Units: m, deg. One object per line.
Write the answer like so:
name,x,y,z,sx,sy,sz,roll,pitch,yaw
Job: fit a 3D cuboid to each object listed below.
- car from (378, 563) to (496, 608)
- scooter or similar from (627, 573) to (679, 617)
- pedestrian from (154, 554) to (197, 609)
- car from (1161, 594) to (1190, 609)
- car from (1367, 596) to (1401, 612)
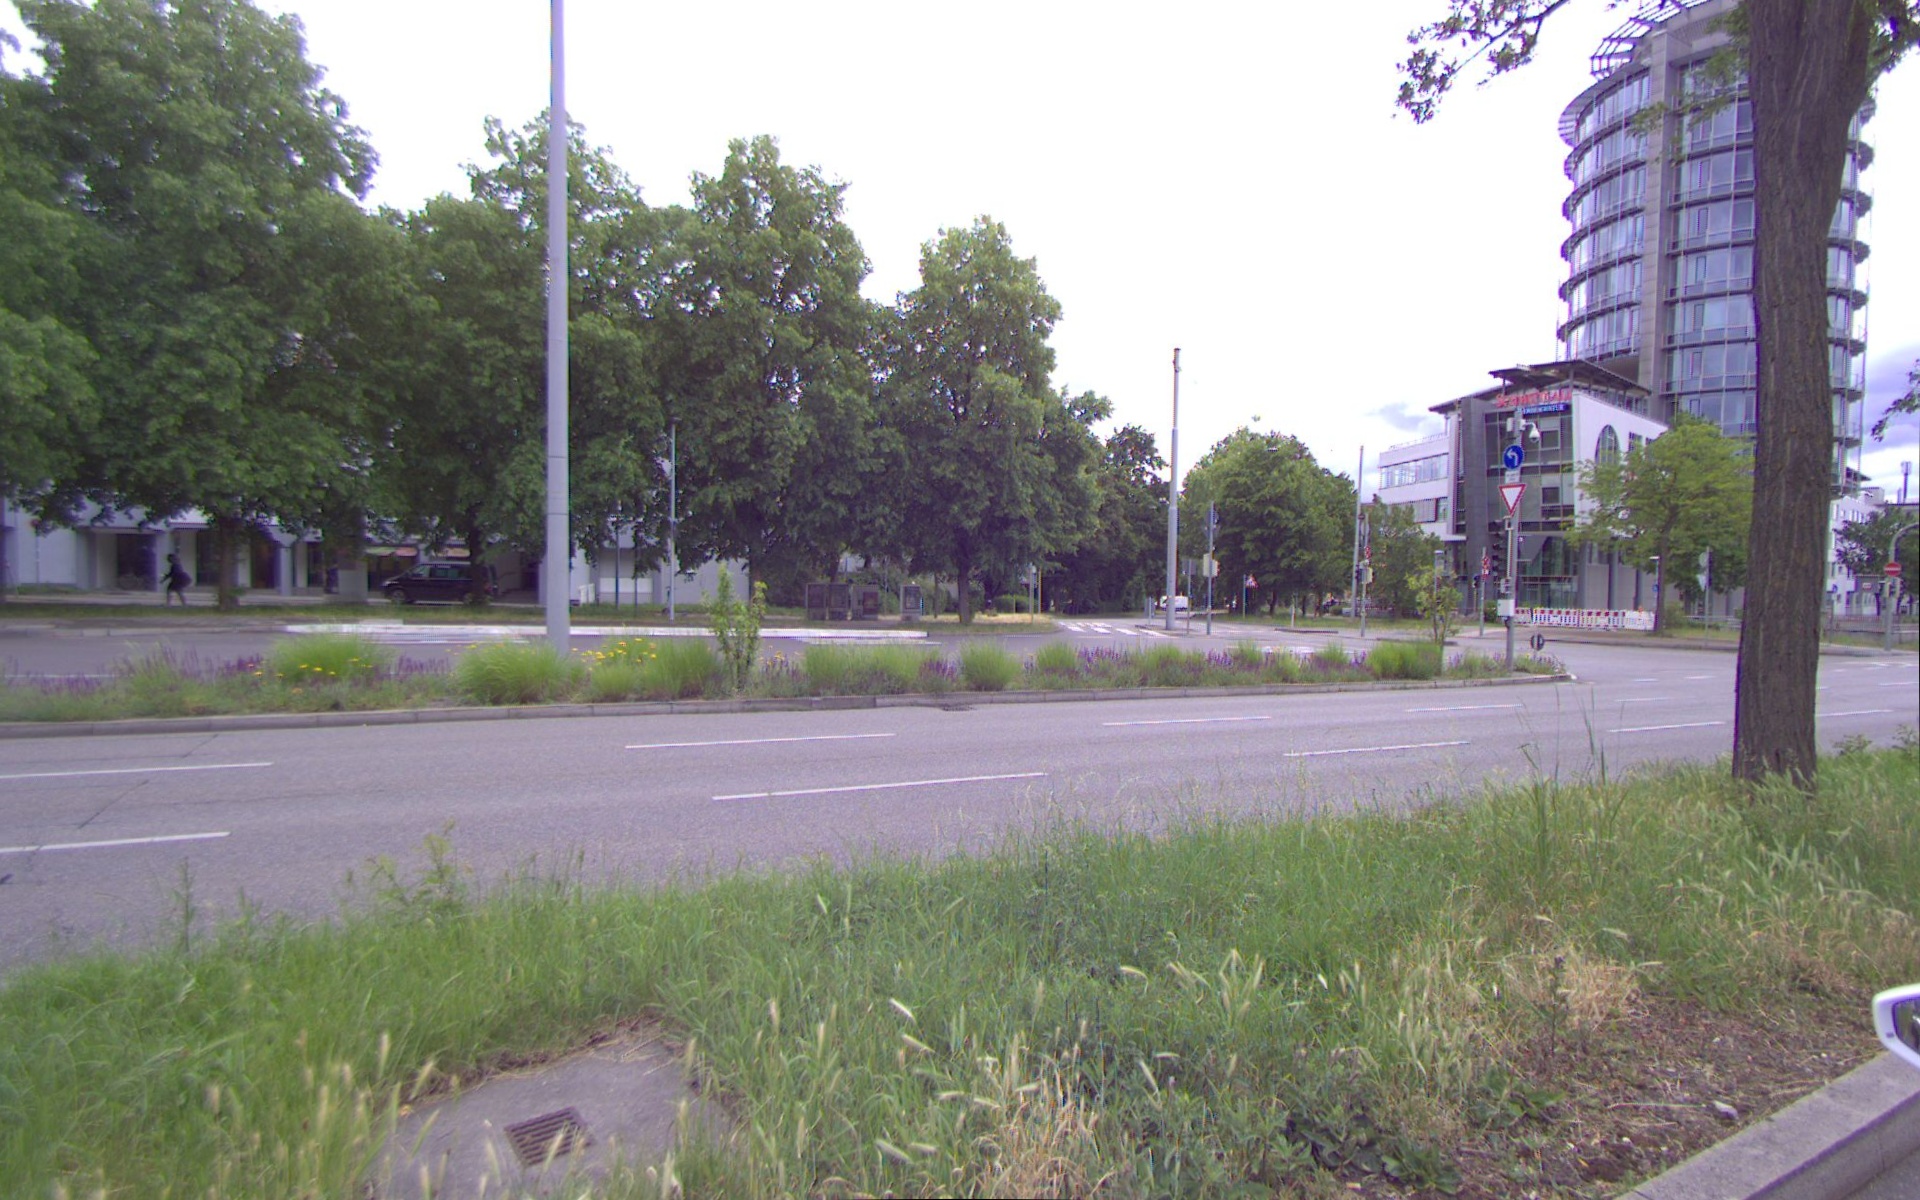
car,-23.315,-0.638,44.945,4.345,1.872,1.781,1,1,-16
scooter or similar,-11.869,-0.184,38.848,1.835,1.686,0.645,1,1,-43
pedestrian,-23.272,-0.536,29.806,0.894,1.578,0.766,1,1,-30
car,37.725,0.259,175.672,4.475,2.370,1.994,2,0,-16
car,25.042,0.235,59.391,1.684,0.888,0.776,1,0,7
